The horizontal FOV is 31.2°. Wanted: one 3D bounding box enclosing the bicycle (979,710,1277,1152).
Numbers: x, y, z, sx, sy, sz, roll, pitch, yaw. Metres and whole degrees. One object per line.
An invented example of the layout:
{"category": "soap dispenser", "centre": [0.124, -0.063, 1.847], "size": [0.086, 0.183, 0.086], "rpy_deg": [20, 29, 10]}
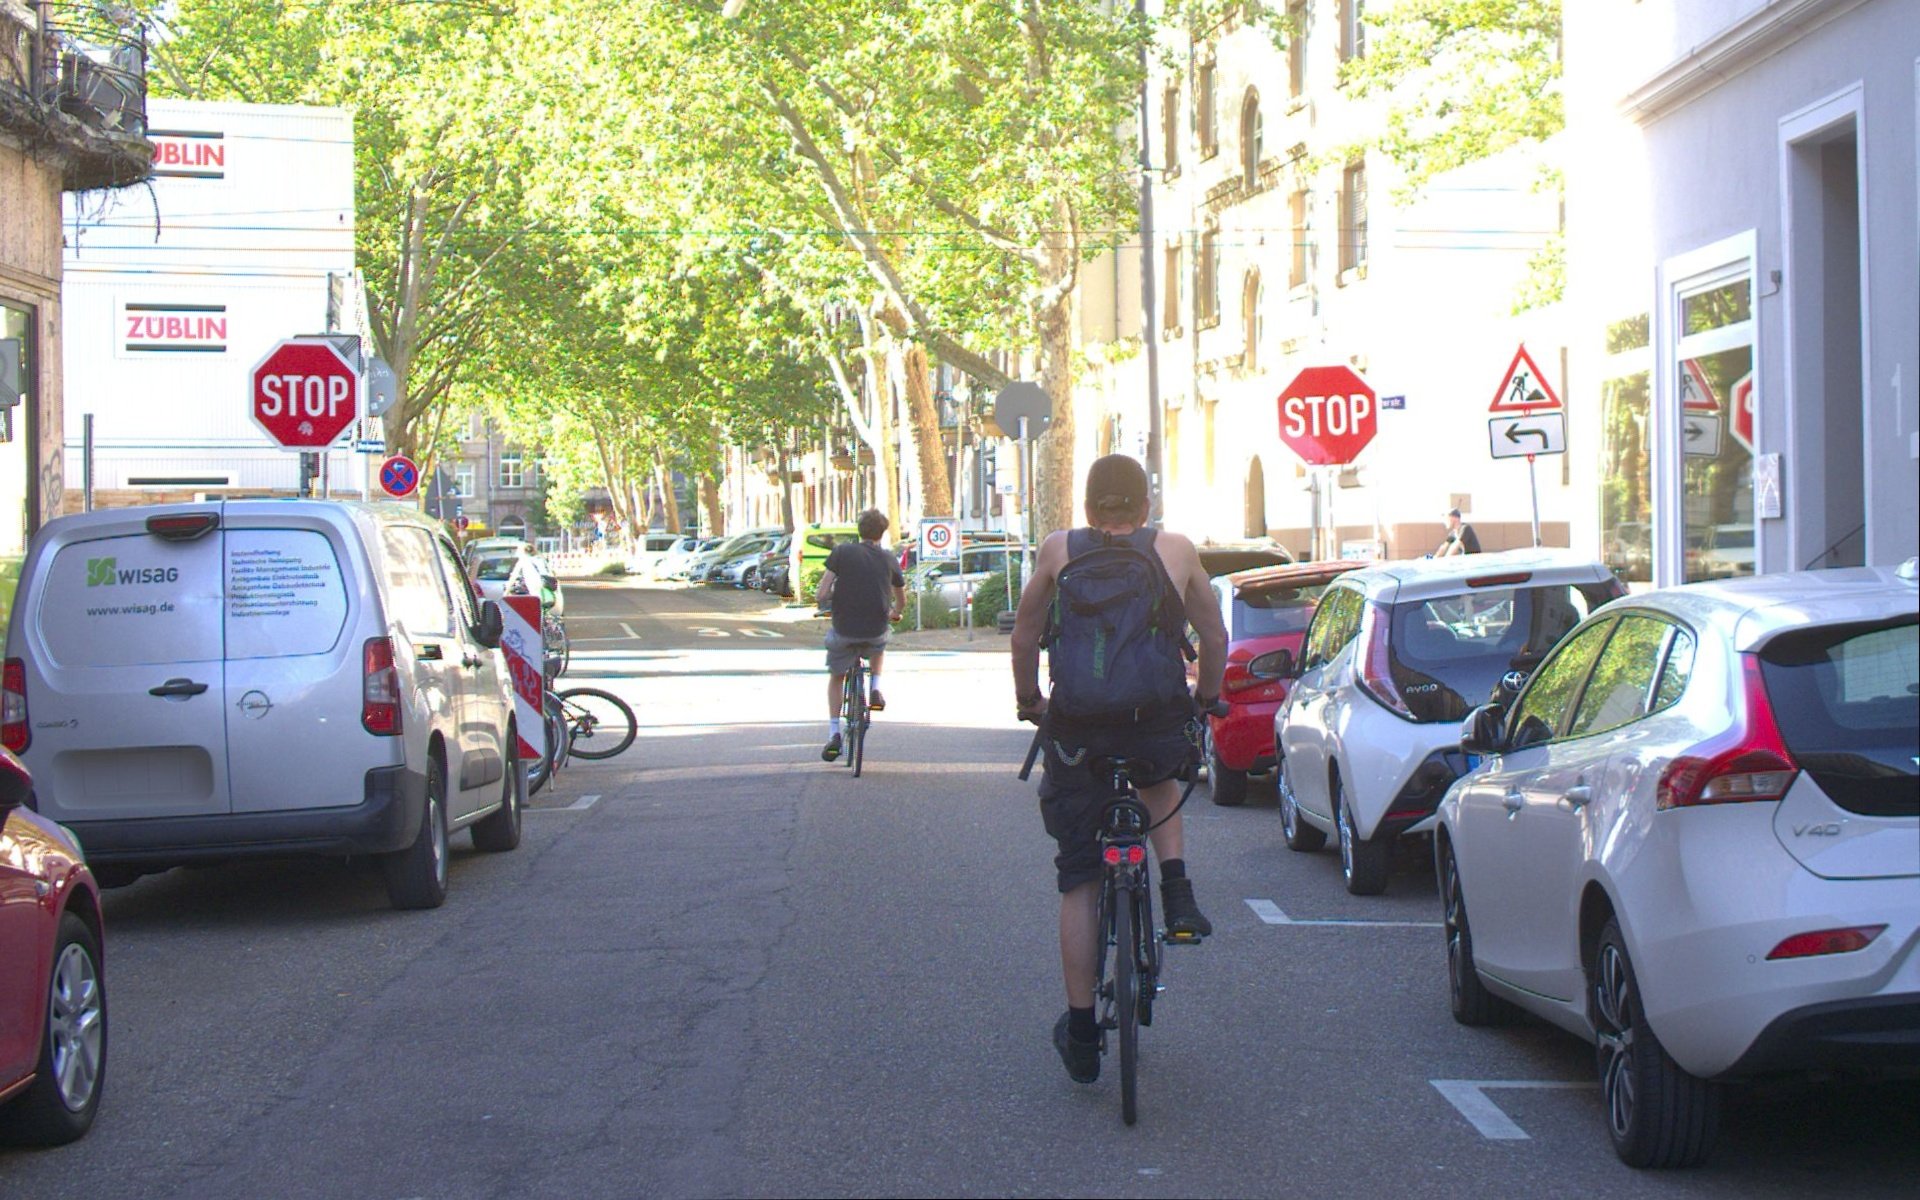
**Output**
{"category": "bicycle", "centre": [0.428, 0.864, 9.606], "size": [0.689, 1.013, 1.907], "rpy_deg": [1, 1, -1]}

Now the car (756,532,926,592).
{"category": "car", "centre": [-3.271, -1.046, 93.864], "size": [4.460, 1.565, 1.729], "rpy_deg": [-1, 1, -9]}

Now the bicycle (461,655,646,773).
{"category": "bicycle", "centre": [-2.973, 0.829, 25.134], "size": [1.308, 0.815, 0.355], "rpy_deg": [-1, 1, -11]}

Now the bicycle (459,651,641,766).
{"category": "bicycle", "centre": [-3.047, 0.800, 25.520], "size": [1.308, 0.815, 0.371], "rpy_deg": [-1, 1, -11]}

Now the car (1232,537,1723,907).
{"category": "car", "centre": [2.396, 0.501, 16.805], "size": [1.636, 1.581, 3.789], "rpy_deg": [1, 1, -3]}

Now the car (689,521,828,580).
{"category": "car", "centre": [-6.674, -1.643, 113.674], "size": [4.460, 1.891, 1.729], "rpy_deg": [-1, 1, -9]}

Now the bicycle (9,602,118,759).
{"category": "bicycle", "centre": [-6.499, 0.567, 24.970], "size": [0.397, 1.088, 1.591], "rpy_deg": [-1, 0, -1]}

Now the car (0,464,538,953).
{"category": "car", "centre": [-3.145, 0.408, 16.342], "size": [1.679, 1.903, 4.519], "rpy_deg": [-3, 1, -1]}

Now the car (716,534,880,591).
{"category": "car", "centre": [-4.574, -1.068, 96.924], "size": [4.460, 1.565, 1.729], "rpy_deg": [-1, 1, -9]}

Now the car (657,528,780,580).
{"category": "car", "centre": [-9.063, -1.742, 129.072], "size": [4.460, 1.891, 1.729], "rpy_deg": [-1, 1, -9]}

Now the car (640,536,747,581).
{"category": "car", "centre": [-11.480, -1.781, 148.226], "size": [4.460, 1.891, 1.729], "rpy_deg": [-1, 1, -9]}

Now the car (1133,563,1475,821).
{"category": "car", "centre": [2.160, 0.531, 22.564], "size": [1.645, 1.498, 3.955], "rpy_deg": [1, 1, -3]}

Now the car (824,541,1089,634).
{"category": "car", "centre": [-0.084, -0.241, 60.665], "size": [4.460, 1.565, 1.729], "rpy_deg": [-1, 1, -9]}

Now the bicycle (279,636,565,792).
{"category": "bicycle", "centre": [-3.429, 0.723, 21.972], "size": [1.764, 0.958, 0.405], "rpy_deg": [-1, 1, -2]}

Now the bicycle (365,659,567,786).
{"category": "bicycle", "centre": [-3.546, 0.876, 24.664], "size": [1.386, 0.815, 0.362], "rpy_deg": [-3, 1, -11]}

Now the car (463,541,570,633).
{"category": "car", "centre": [-7.842, -0.253, 60.596], "size": [1.643, 1.489, 4.001], "rpy_deg": [-3, 2, -10]}

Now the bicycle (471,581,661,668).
{"category": "bicycle", "centre": [-5.117, 0.317, 44.624], "size": [2.422, 1.089, 0.896], "rpy_deg": [0, 0, -7]}

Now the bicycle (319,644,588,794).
{"category": "bicycle", "centre": [-3.444, 0.798, 23.347], "size": [1.764, 0.958, 0.481], "rpy_deg": [-1, 1, -13]}

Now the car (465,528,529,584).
{"category": "car", "centre": [-13.306, -1.267, 98.645], "size": [1.665, 1.557, 4.617], "rpy_deg": [-1, 1, -10]}

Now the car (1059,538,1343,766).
{"category": "car", "centre": [1.840, 0.351, 27.488], "size": [1.760, 1.656, 4.198], "rpy_deg": [1, 1, -3]}

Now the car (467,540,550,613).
{"category": "car", "centre": [-10.063, -0.554, 76.424], "size": [1.665, 1.557, 4.001], "rpy_deg": [-1, 1, -10]}

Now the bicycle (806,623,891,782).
{"category": "bicycle", "centre": [-0.756, 0.678, 23.314], "size": [0.551, 1.013, 1.628], "rpy_deg": [0, 0, -2]}

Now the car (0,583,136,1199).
{"category": "car", "centre": [-3.122, 0.754, 7.616], "size": [1.679, 1.468, 4.204], "rpy_deg": [-3, 1, -2]}

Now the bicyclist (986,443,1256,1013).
{"category": "bicyclist", "centre": [0.431, 0.336, 9.491], "size": [0.676, 1.508, 0.669], "rpy_deg": [1, 1, -1]}

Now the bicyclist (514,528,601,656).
{"category": "bicyclist", "centre": [-5.230, -0.098, 44.607], "size": [1.096, 1.634, 0.896], "rpy_deg": [0, 0, -7]}

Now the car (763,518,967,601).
{"category": "car", "centre": [-2.179, -0.941, 78.513], "size": [4.460, 1.830, 1.729], "rpy_deg": [-1, 1, -9]}

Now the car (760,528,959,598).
{"category": "car", "centre": [-2.365, -0.877, 80.524], "size": [4.460, 1.565, 1.729], "rpy_deg": [-1, 1, -9]}

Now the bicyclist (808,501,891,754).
{"category": "bicyclist", "centre": [-0.746, 0.180, 23.208], "size": [0.542, 1.682, 0.653], "rpy_deg": [0, 0, -2]}

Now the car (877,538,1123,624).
{"category": "car", "centre": [0.749, -0.374, 65.643], "size": [4.460, 1.565, 1.729], "rpy_deg": [-1, 1, -9]}

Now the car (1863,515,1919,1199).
{"category": "car", "centre": [2.468, 0.690, 4.204], "size": [1.679, 1.592, 4.190], "rpy_deg": [1, 1, 1]}

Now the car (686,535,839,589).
{"category": "car", "centre": [-5.987, -1.152, 104.045], "size": [4.460, 1.565, 1.729], "rpy_deg": [-1, 1, -9]}

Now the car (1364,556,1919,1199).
{"category": "car", "centre": [2.308, 0.651, 9.716], "size": [1.679, 1.505, 4.190], "rpy_deg": [1, 1, -2]}
